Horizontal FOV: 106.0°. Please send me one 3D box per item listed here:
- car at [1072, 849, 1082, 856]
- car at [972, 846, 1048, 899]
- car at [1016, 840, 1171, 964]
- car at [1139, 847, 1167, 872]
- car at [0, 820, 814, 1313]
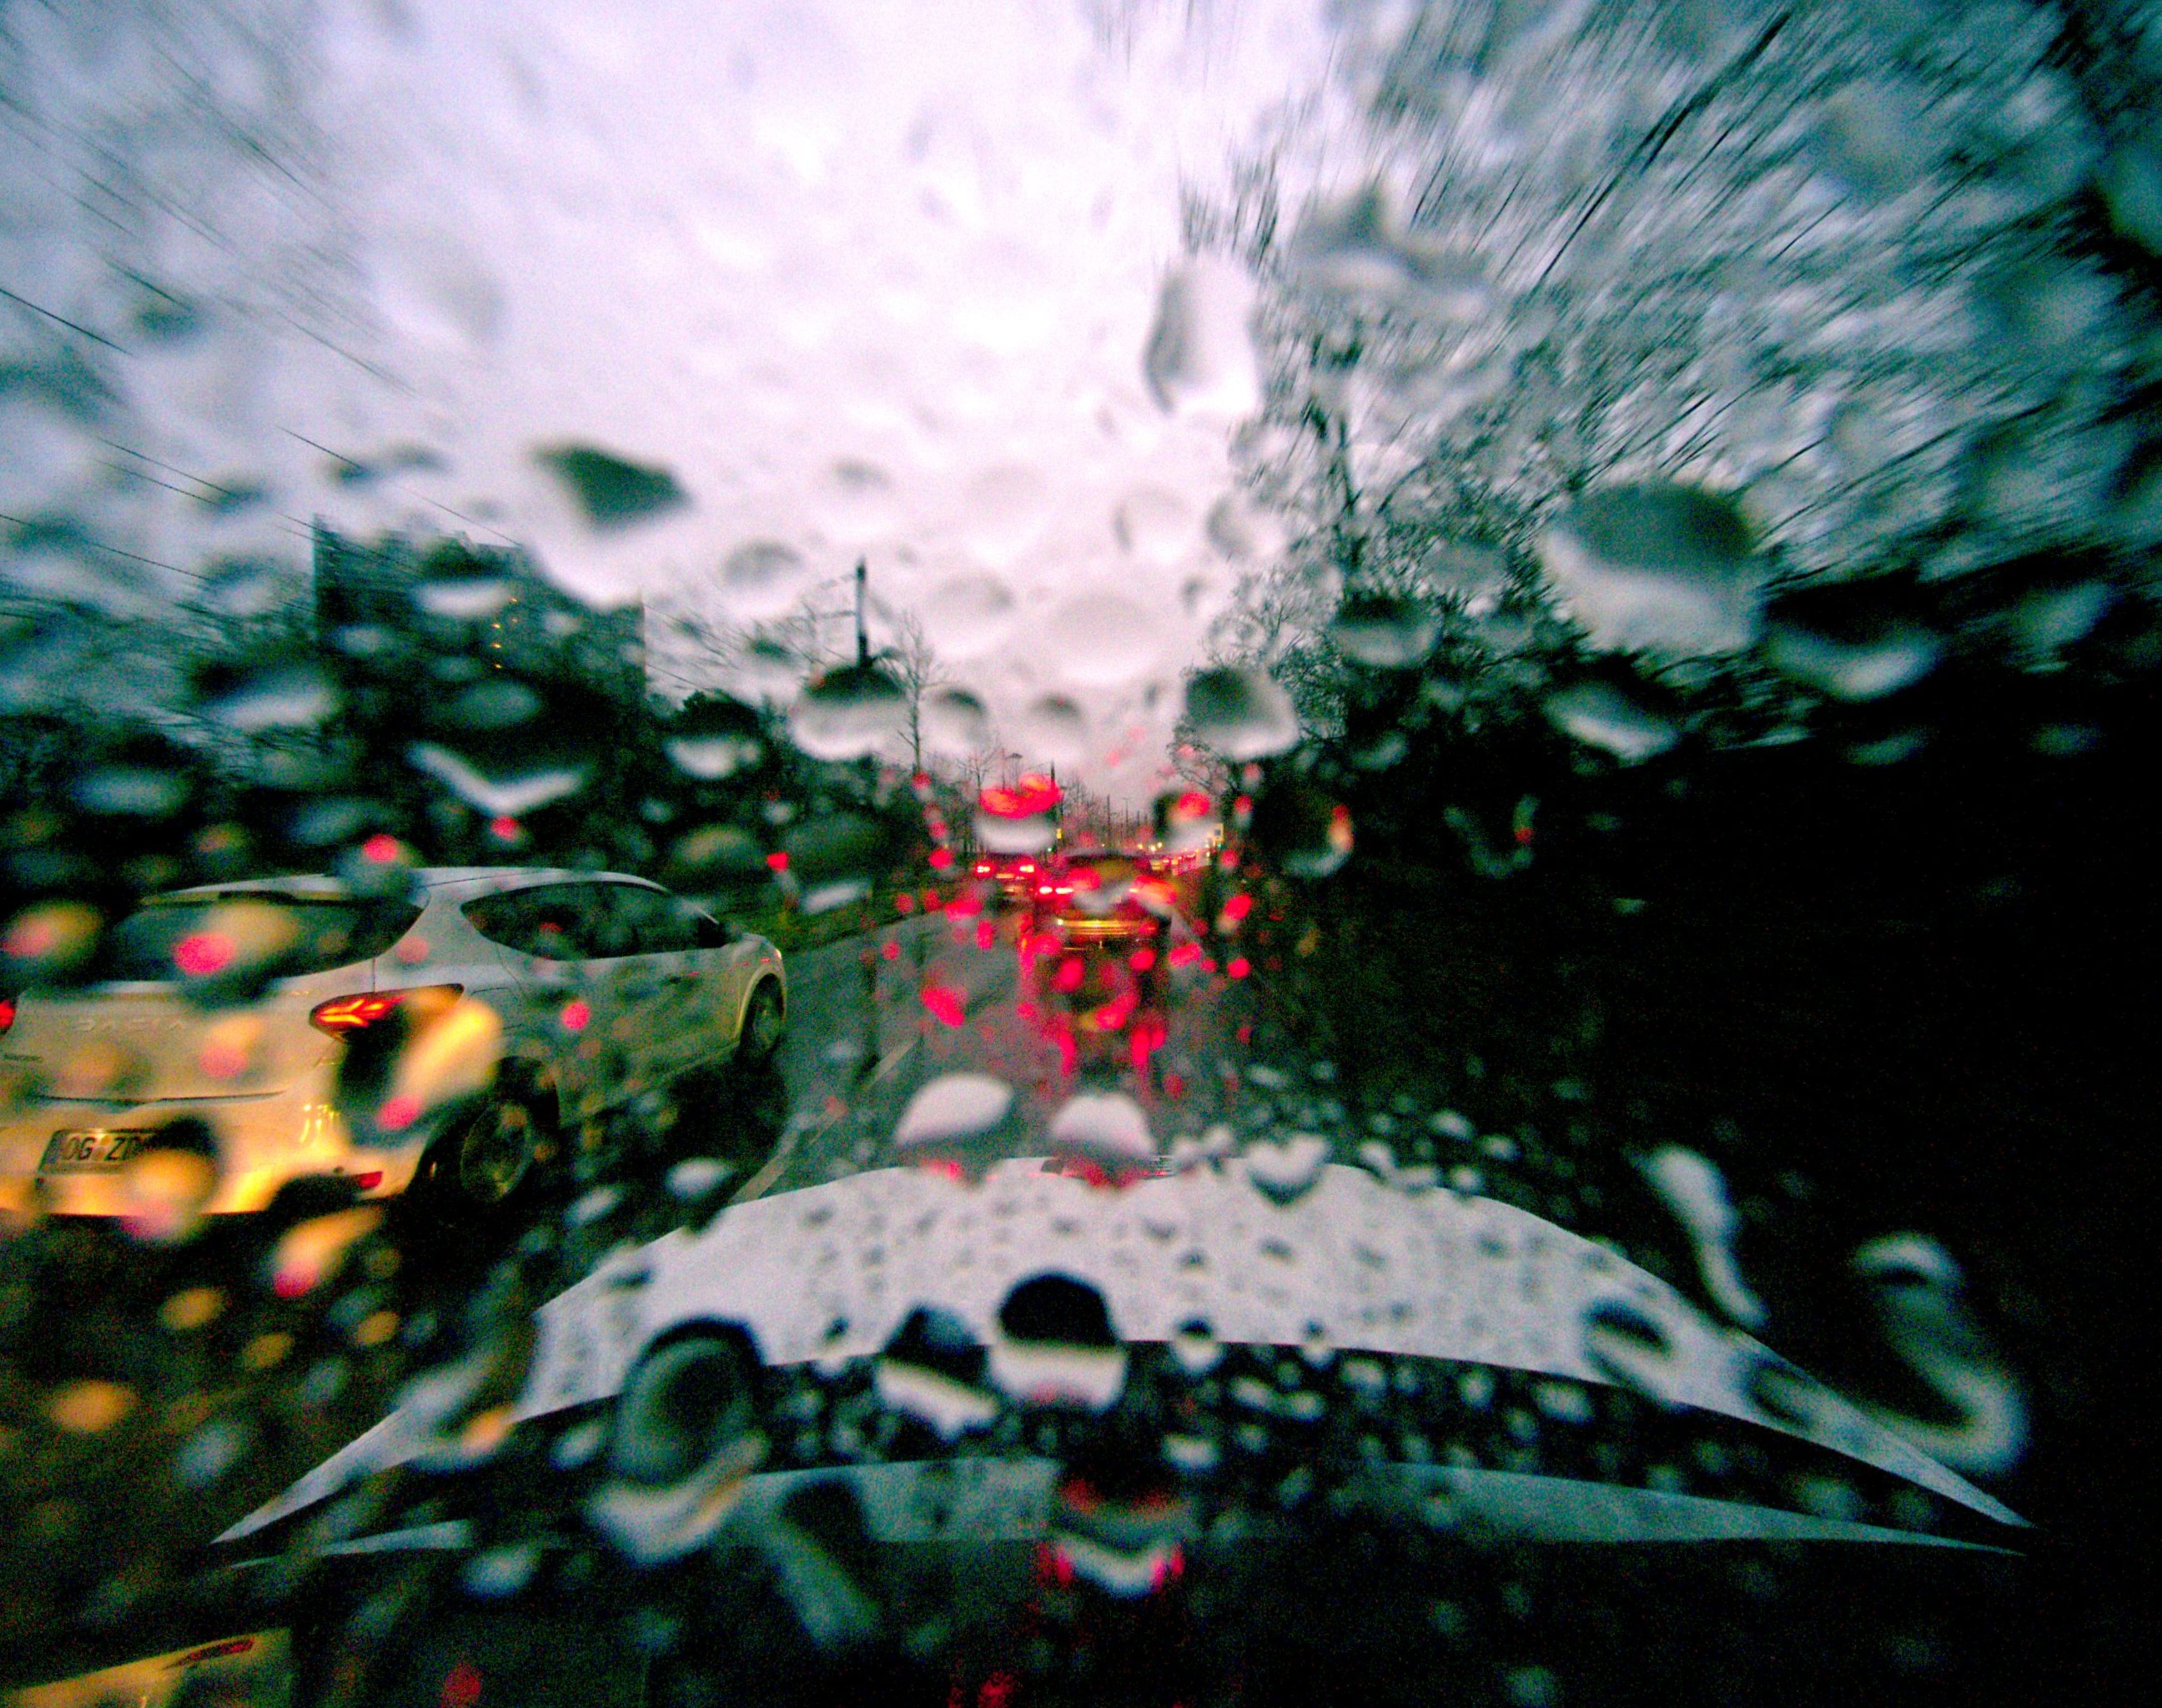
[{"bbox_3d":[-1.049,-0.417,210.268,1.982,1.658,4.010,0,0,9],"label":"car"},{"bbox_3d":[-2.138,0.507,25.479,1.873,1.459,4.002,-2,1,2],"label":"car"},{"bbox_3d":[0.225,0.604,12.566,1.991,1.584,4.002,-1,0,2],"label":"car"},{"bbox_3d":[4.622,0.340,52.846,1.701,1.558,4.000,-1,0,4],"label":"car"},{"bbox_3d":[-3.159,0.674,4.631,1.701,1.525,4.138,-1,0,3],"label":"car"}]
